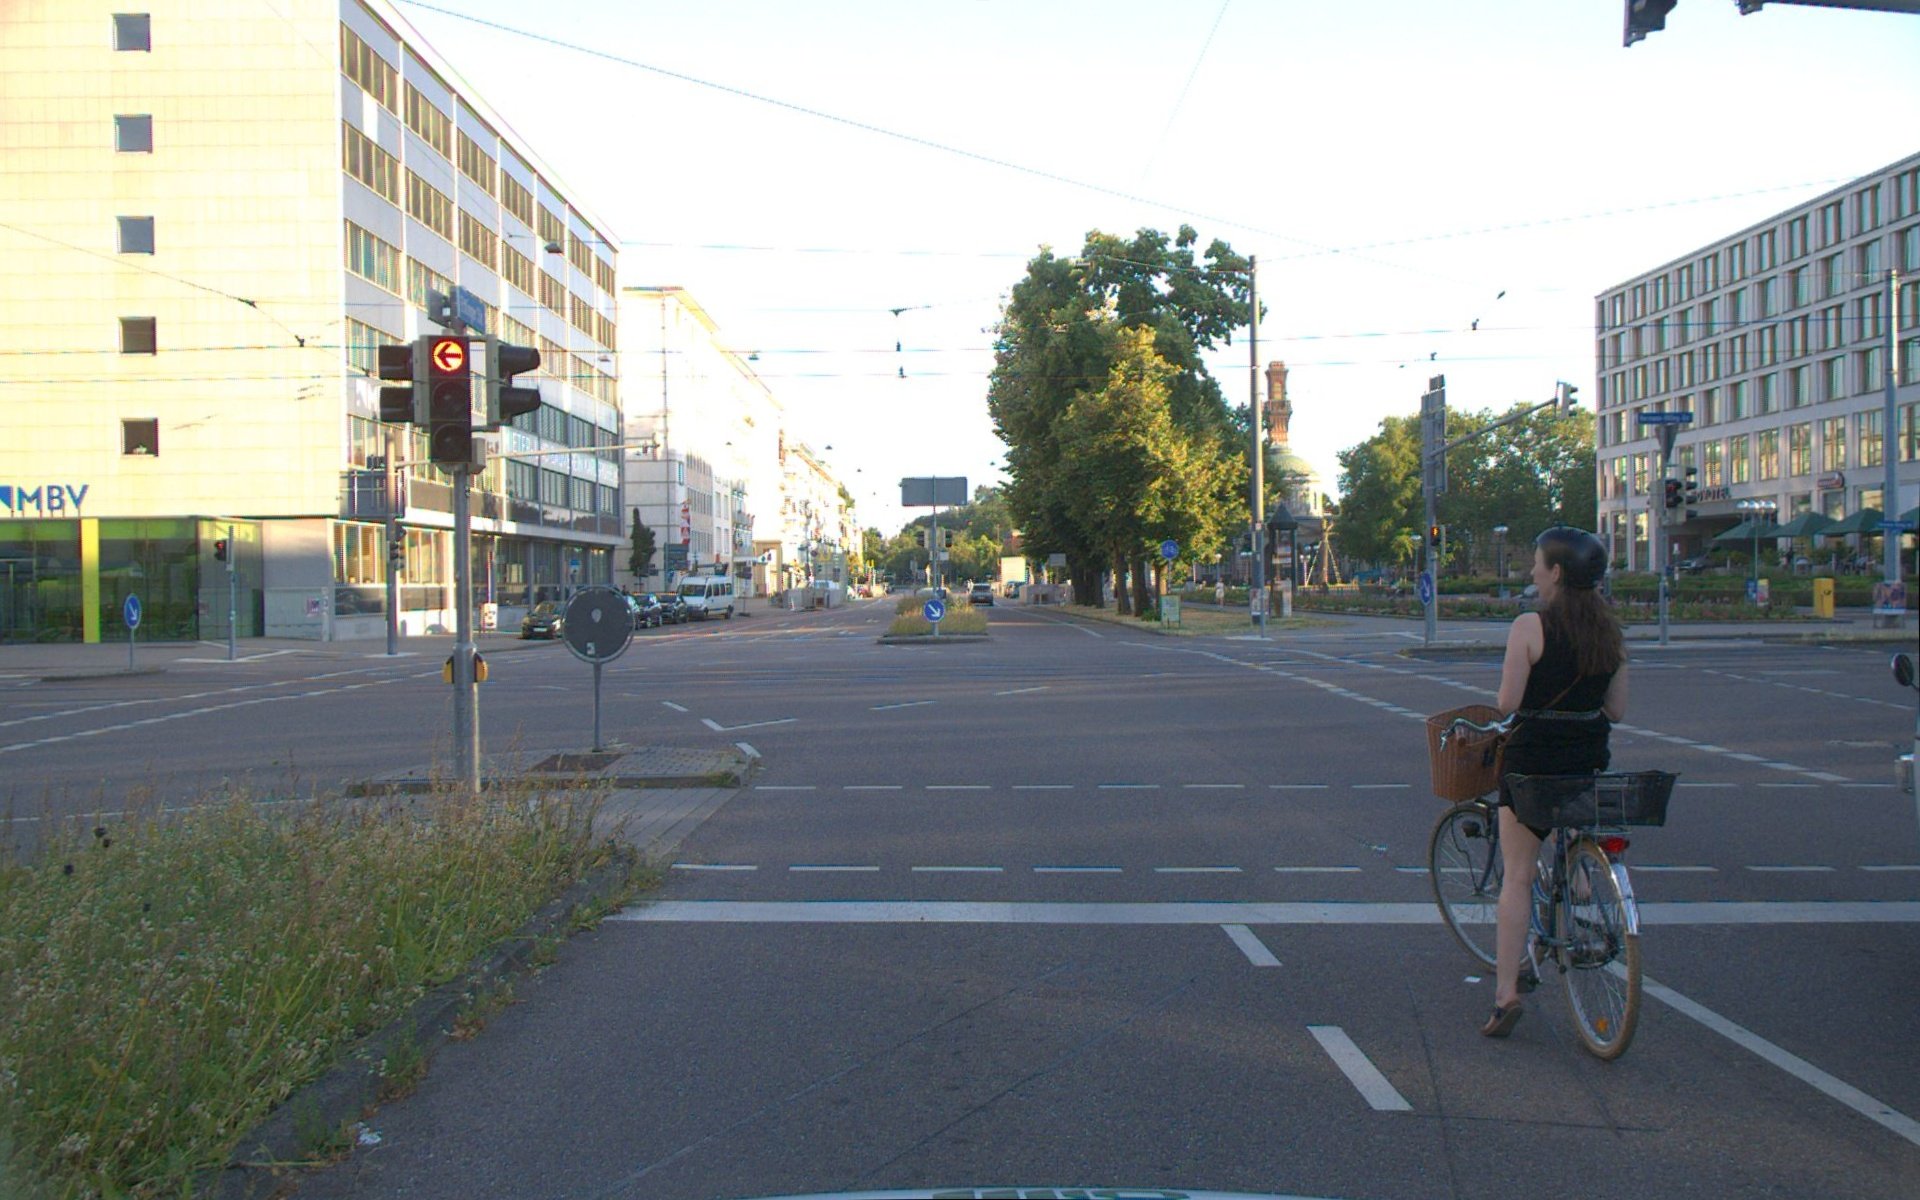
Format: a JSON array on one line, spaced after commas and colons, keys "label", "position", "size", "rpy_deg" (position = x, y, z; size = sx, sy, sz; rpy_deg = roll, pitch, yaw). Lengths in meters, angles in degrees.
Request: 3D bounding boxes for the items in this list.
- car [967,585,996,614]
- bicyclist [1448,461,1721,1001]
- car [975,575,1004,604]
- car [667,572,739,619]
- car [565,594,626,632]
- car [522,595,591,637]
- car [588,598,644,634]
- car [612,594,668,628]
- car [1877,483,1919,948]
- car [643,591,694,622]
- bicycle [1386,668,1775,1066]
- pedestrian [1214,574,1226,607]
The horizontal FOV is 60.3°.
[{"label": "car", "position": [1.554, -0.079, 122.554], "size": [1.953, 2.049, 3.999], "rpy_deg": [-1, 1, -1]}, {"label": "bicyclist", "position": [2.119, 0.418, 5.689], "size": [0.615, 1.723, 0.748], "rpy_deg": [-1, 0, -1]}, {"label": "car", "position": [2.170, -0.778, 122.149], "size": [1.953, 2.049, 3.999], "rpy_deg": [-1, 0, -1]}, {"label": "car", "position": [-14.653, -0.219, 94.557], "size": [2.130, 2.427, 5.994], "rpy_deg": [-2, -2, 11]}, {"label": "car", "position": [-15.584, 0.564, 70.904], "size": [1.760, 1.501, 3.998], "rpy_deg": [-1, -2, -1]}, {"label": "car", "position": [-15.771, 0.653, 64.861], "size": [1.760, 1.501, 3.998], "rpy_deg": [-1, -2, -1]}, {"label": "car", "position": [-15.725, 0.735, 75.818], "size": [1.760, 1.501, 3.998], "rpy_deg": [-1, -2, -1]}, {"label": "car", "position": [-15.744, 0.567, 81.551], "size": [1.758, 1.501, 4.001], "rpy_deg": [-1, -2, 3]}, {"label": "car", "position": [4.419, 0.473, 5.454], "size": [1.429, 1.811, 2.565], "rpy_deg": [0, 2, 2]}, {"label": "car", "position": [-15.472, 0.367, 87.954], "size": [1.758, 1.501, 4.001], "rpy_deg": [-1, -2, 3]}, {"label": "bicycle", "position": [2.132, 0.845, 6.006], "size": [0.624, 1.087, 2.069], "rpy_deg": [0, 1, 0]}, {"label": "pedestrian", "position": [13.208, -0.482, 83.982], "size": [0.498, 1.697, 0.531], "rpy_deg": [-1, 0, -2]}]
